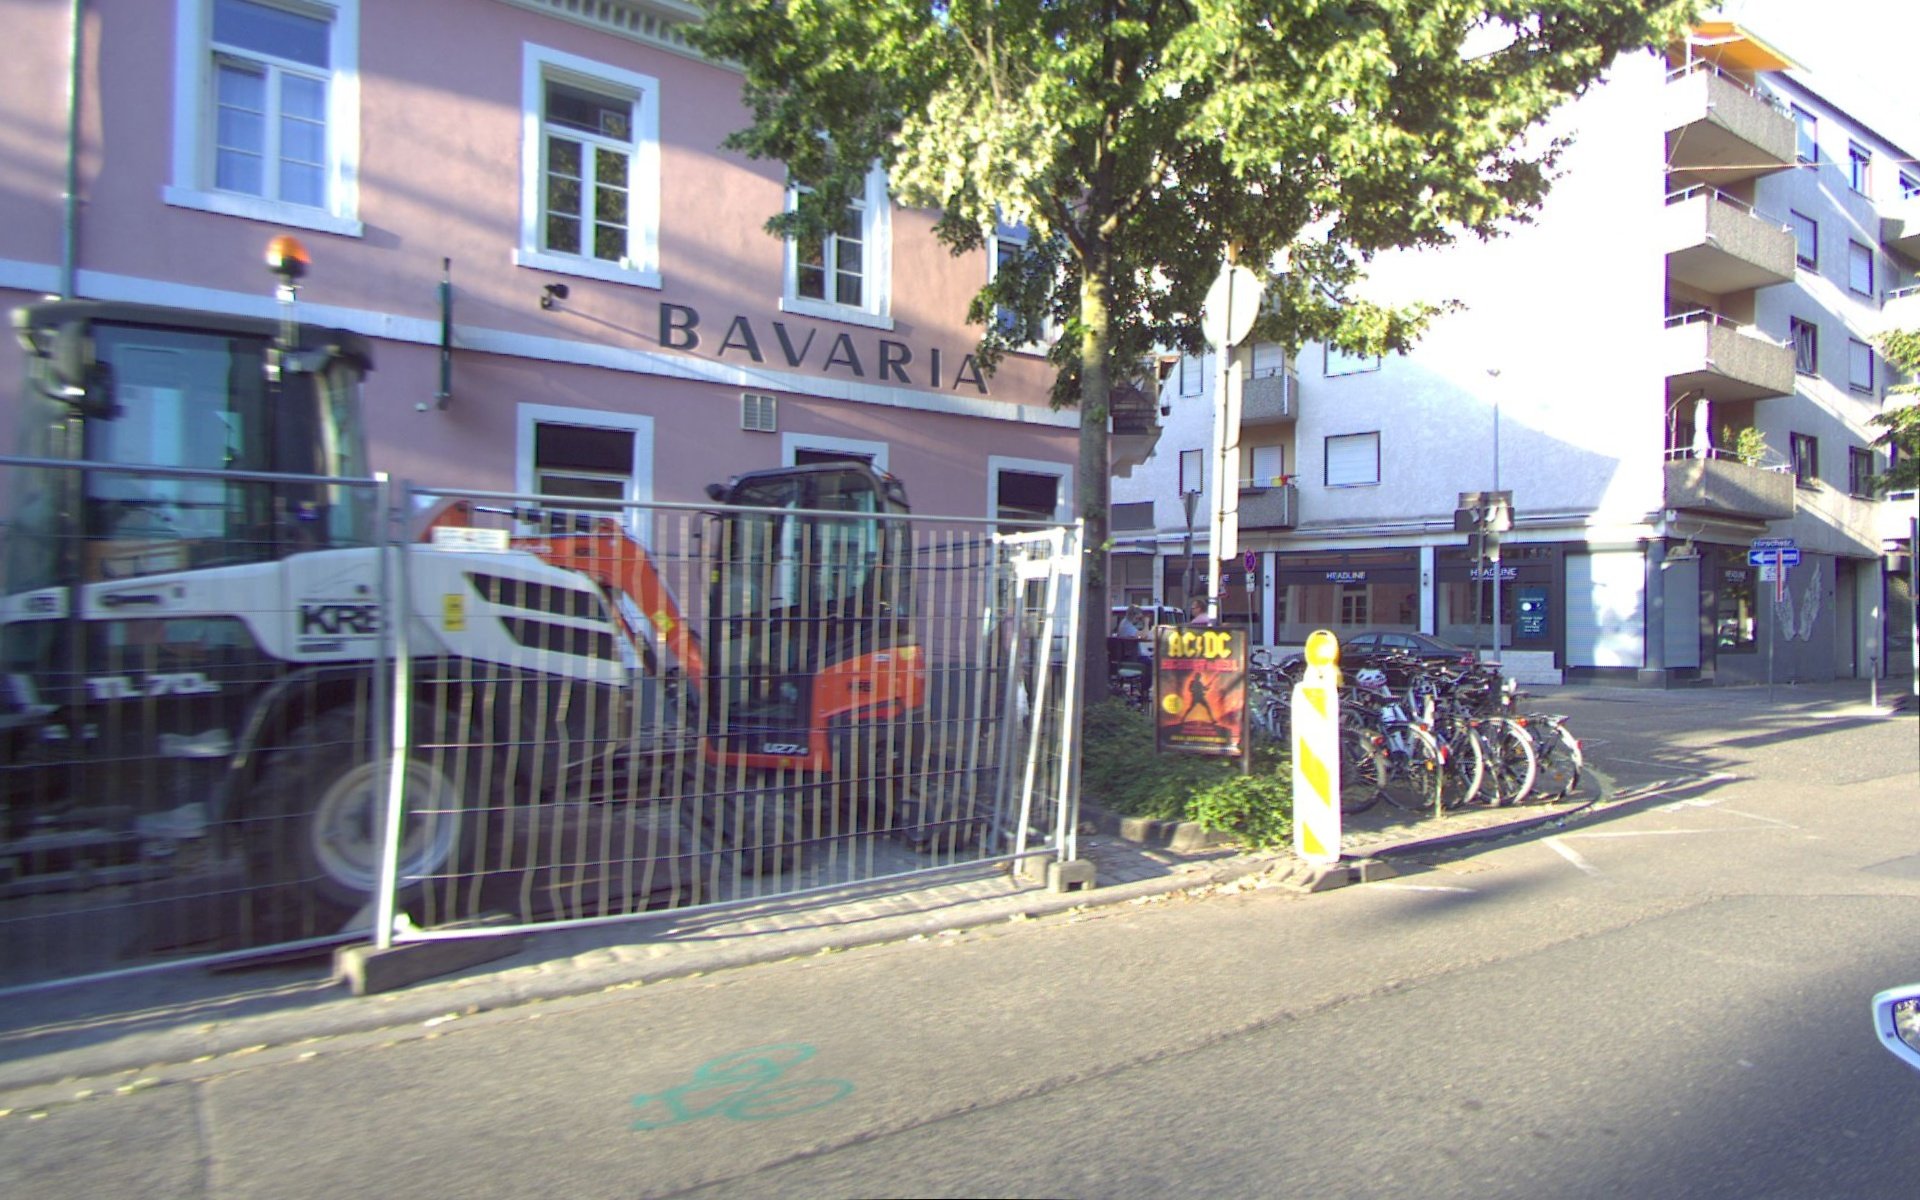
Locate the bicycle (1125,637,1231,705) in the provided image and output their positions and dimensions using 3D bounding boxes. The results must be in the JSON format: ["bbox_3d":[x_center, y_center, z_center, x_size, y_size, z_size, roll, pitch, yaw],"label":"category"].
[{"bbox_3d":[4.202,1.351,19.396,1.906,1.208,0.585,1,-2,27],"label":"bicycle"}]

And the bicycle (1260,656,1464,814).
[{"bbox_3d":[3.388,1.099,8.627,0.439,1.093,1.674,2,1,-30],"label":"bicycle"}]

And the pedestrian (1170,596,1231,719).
[{"bbox_3d":[3.544,0.847,14.811,0.715,1.760,0.500,4,-2,-40],"label":"pedestrian"}]

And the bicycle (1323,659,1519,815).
[{"bbox_3d":[3.967,1.137,8.787,0.438,1.093,1.679,2,1,-21],"label":"bicycle"}]

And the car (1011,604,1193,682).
[{"bbox_3d":[3.840,1.130,27.320,4.451,1.971,2.066,0,-2,33],"label":"car"}]

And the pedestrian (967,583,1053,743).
[{"bbox_3d":[0.607,0.714,11.880,0.802,1.789,1.040,0,-1,15],"label":"pedestrian"}]

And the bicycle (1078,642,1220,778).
[{"bbox_3d":[1.822,1.035,9.936,0.439,1.164,1.677,2,-1,-26],"label":"bicycle"}]

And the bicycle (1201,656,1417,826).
[{"bbox_3d":[2.750,1.072,7.964,1.521,1.131,0.444,3,1,28],"label":"bicycle"}]

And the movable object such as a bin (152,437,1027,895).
[{"bbox_3d":[-2.496,0.373,7.335,5.638,2.528,2.315,0,-1,14],"label":"movable object such as a bin"}]

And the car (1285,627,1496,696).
[{"bbox_3d":[9.869,1.355,23.141,4.142,1.398,1.992,0,-2,38],"label":"car"}]

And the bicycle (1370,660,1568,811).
[{"bbox_3d":[4.498,1.151,9.010,0.438,1.093,1.679,2,1,-21],"label":"bicycle"}]

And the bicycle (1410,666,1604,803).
[{"bbox_3d":[5.084,1.210,9.461,0.438,1.035,1.679,2,1,-21],"label":"bicycle"}]

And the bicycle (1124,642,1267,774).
[{"bbox_3d":[2.370,1.055,10.292,0.439,1.164,1.677,2,-1,-26],"label":"bicycle"}]

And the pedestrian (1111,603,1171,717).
[{"bbox_3d":[2.741,0.905,15.191,0.715,1.672,0.500,4,-2,-40],"label":"pedestrian"}]

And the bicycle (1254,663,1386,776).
[{"bbox_3d":[3.649,1.185,10.270,0.439,0.993,1.320,2,-1,-26],"label":"bicycle"}]

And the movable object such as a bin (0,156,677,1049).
[{"bbox_3d":[-4.192,0.016,4.333,5.241,3.008,2.612,1,-1,-30],"label":"movable object such as a bin"}]

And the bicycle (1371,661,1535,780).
[{"bbox_3d":[5.124,1.214,10.512,0.466,1.073,1.477,2,-1,-35],"label":"bicycle"}]
